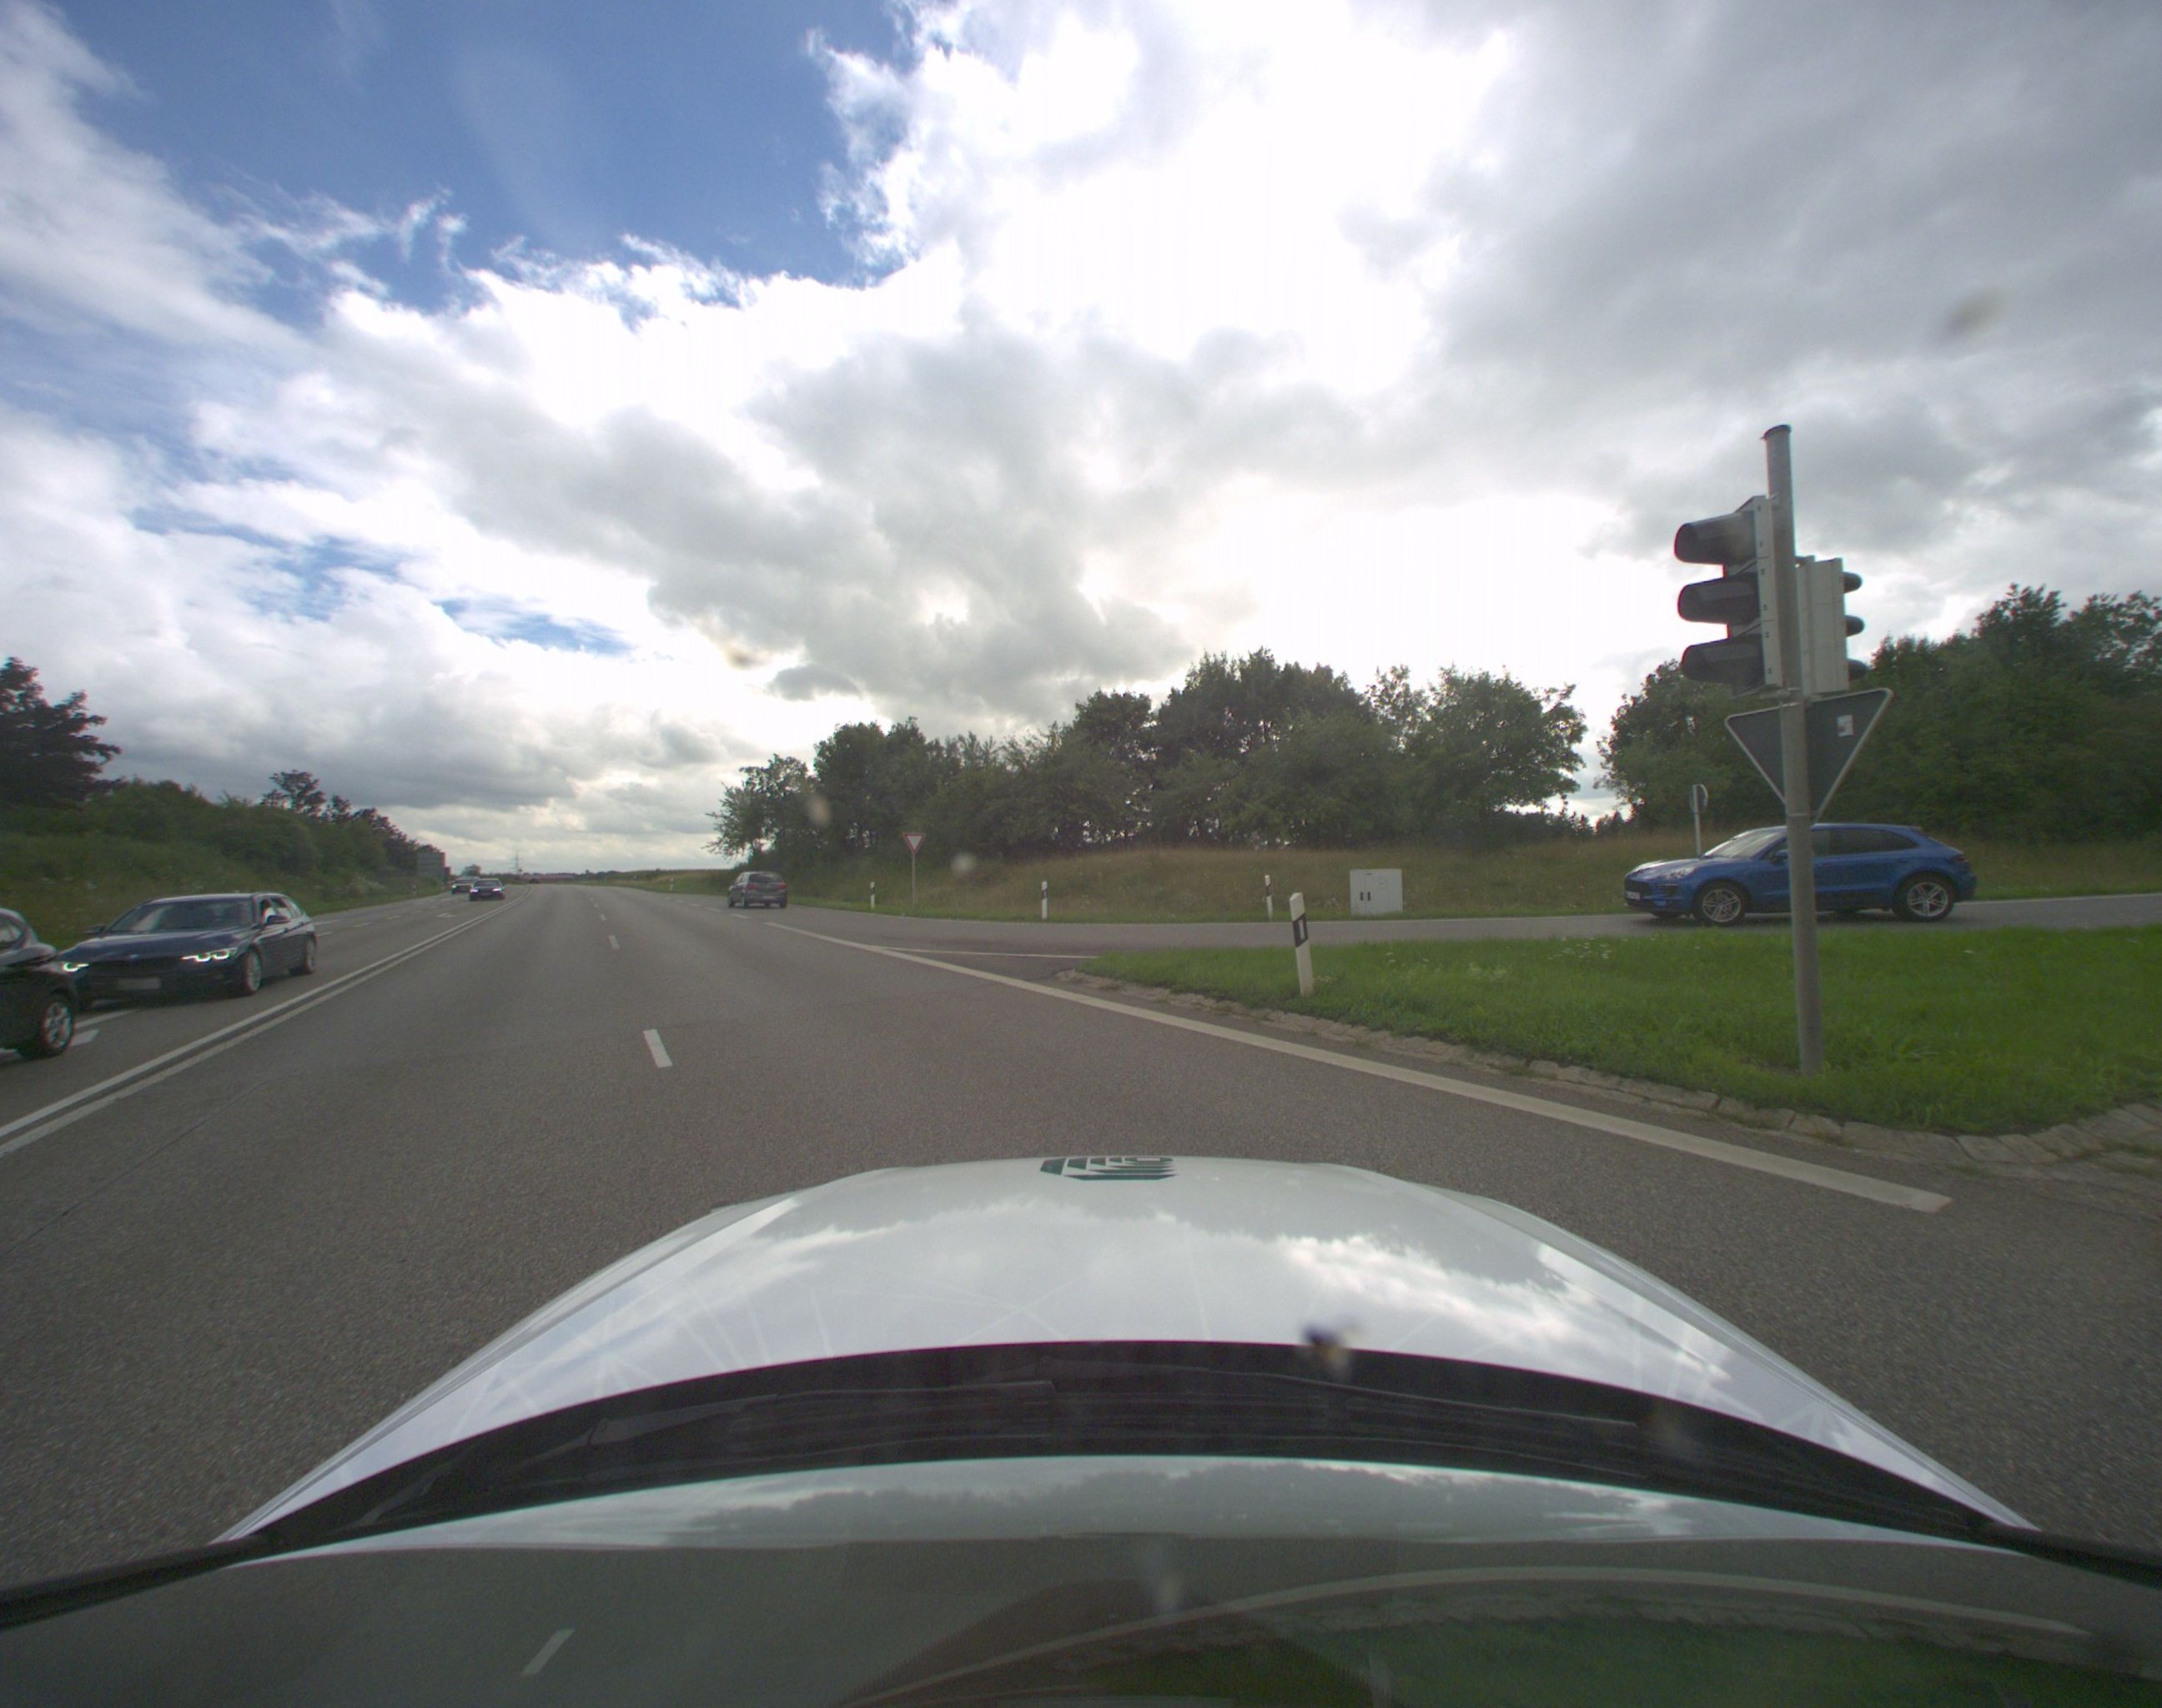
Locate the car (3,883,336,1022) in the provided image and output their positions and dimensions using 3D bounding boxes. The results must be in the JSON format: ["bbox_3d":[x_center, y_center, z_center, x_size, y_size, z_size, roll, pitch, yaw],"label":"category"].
[{"bbox_3d":[-13.290,1.272,12.349,2.063,1.483,4.831,-3,0,-32],"label":"car"}]

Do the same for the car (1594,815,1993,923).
[{"bbox_3d":[11.726,0.264,13.799,4.710,1.570,2.006,-2,0,11],"label":"car"}]

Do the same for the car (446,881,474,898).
[{"bbox_3d":[-61.016,3.451,80.036,2.009,1.494,4.938,-2,0,-36],"label":"car"}]

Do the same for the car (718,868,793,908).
[{"bbox_3d":[-13.504,1.357,33.659,2.008,1.535,3.957,0,-1,-35],"label":"car"}]

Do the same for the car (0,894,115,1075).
[{"bbox_3d":[-9.624,1.126,6.170,1.737,1.443,3.905,-2,0,-31],"label":"car"}]

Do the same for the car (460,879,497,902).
[{"bbox_3d":[-40.332,2.437,54.586,1.778,1.383,4.496,-1,-1,-34],"label":"car"}]
